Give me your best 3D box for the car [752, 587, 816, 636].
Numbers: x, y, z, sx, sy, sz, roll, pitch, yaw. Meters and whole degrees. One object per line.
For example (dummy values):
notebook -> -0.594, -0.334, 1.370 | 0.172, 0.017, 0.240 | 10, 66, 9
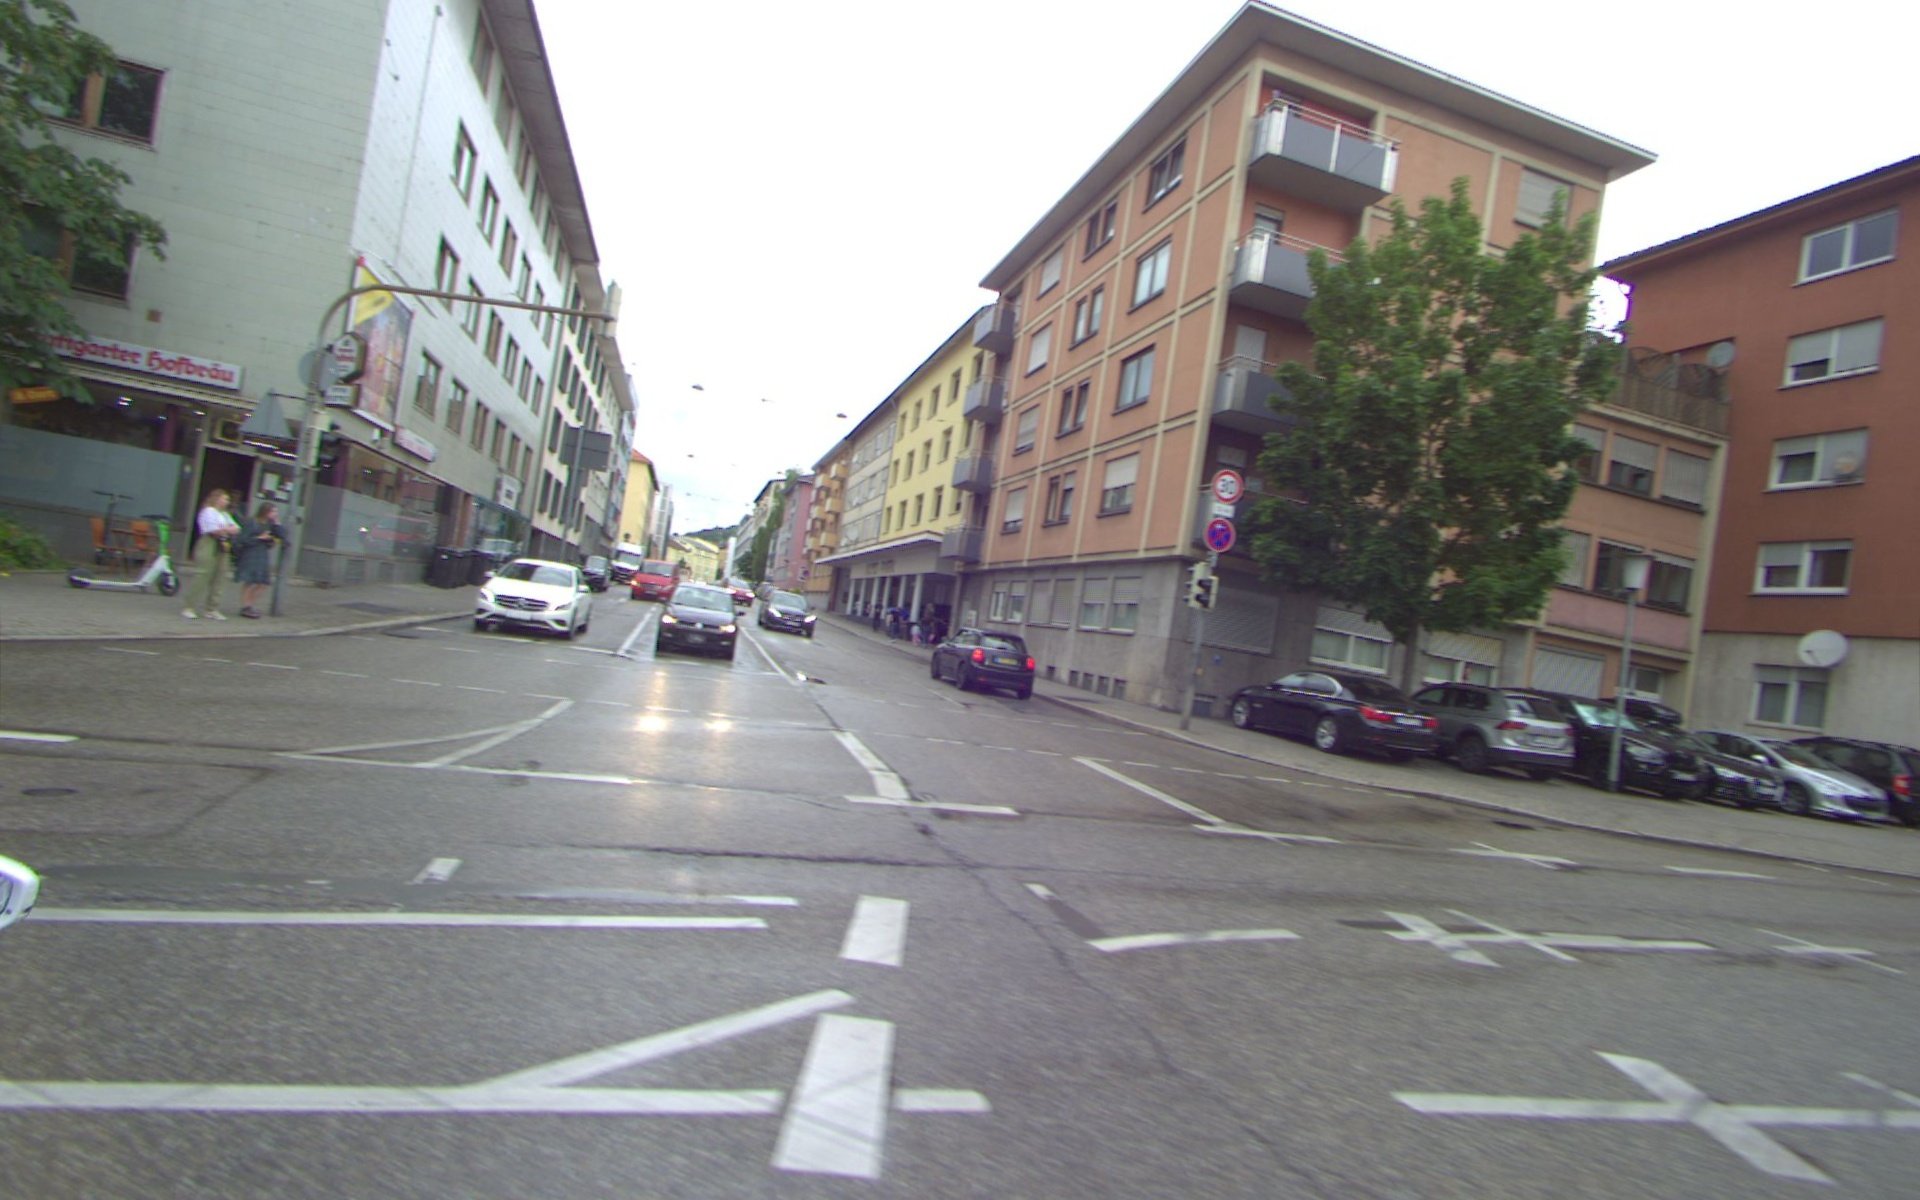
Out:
car -> -6.650, 0.442, 37.679 | 1.822, 1.506, 3.990 | 8, -3, -15

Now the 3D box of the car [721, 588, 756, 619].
car -> -14.078, 0.230, 63.813 | 1.822, 1.692, 3.991 | 8, -3, -15

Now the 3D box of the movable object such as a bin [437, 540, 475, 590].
movable object such as a bin -> -14.700, -1.012, 29.357 | 0.690, 1.329, 0.780 | 10, -3, -17

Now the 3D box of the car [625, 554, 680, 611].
car -> -14.387, -0.741, 47.325 | 2.040, 2.266, 4.609 | 8, -2, -14

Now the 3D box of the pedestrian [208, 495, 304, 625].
pedestrian -> -9.958, -0.566, 14.233 | 0.747, 1.666, 0.708 | 11, 1, 38

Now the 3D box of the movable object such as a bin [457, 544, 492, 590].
movable object such as a bin -> -15.422, -1.033, 31.967 | 0.690, 1.329, 0.780 | 10, -3, -17

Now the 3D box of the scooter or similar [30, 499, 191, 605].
scooter or similar -> -12.024, -0.661, 14.279 | 0.495, 1.202, 1.555 | 6, -5, 44

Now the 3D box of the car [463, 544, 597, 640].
car -> -8.591, -0.124, 20.445 | 1.822, 1.530, 3.989 | 8, -2, -15

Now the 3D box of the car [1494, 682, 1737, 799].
car -> 13.101, 2.747, 20.444 | 1.958, 1.739, 4.000 | 7, -2, -5

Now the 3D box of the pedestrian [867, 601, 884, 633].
pedestrian -> -4.449, 0.903, 53.086 | 0.514, 1.575, 0.567 | 10, 2, -16

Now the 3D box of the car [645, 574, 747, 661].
car -> -5.778, 0.364, 21.991 | 1.822, 1.506, 3.989 | 8, -2, -15

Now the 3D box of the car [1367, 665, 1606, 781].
car -> 10.358, 2.370, 20.167 | 1.962, 1.679, 3.992 | 8, -2, -13

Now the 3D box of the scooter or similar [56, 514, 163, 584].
scooter or similar -> -13.306, -0.798, 15.736 | 1.438, 0.851, 0.551 | 8, -3, 21

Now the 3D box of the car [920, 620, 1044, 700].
car -> 0.425, 1.367, 24.028 | 1.641, 1.437, 4.059 | 8, -1, -17

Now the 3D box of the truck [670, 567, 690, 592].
truck -> -51.333, -3.692, 184.481 | 2.774, 3.872, 8.130 | 10, -4, -14

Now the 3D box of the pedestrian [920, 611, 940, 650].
pedestrian -> -1.298, 1.303, 43.088 | 0.474, 1.585, 0.555 | 10, 2, -16

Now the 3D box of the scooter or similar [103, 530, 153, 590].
scooter or similar -> -13.134, -0.639, 15.894 | 0.457, 0.851, 1.308 | 11, -4, -38

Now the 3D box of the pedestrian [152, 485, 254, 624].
pedestrian -> -10.061, -0.604, 13.378 | 0.747, 1.666, 0.708 | 11, 1, 38

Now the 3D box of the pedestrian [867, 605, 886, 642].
pedestrian -> -3.734, 1.038, 45.123 | 0.514, 1.557, 0.567 | 10, 2, -16

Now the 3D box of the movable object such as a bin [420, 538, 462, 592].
movable object such as a bin -> -14.206, -0.946, 27.565 | 0.690, 1.329, 0.780 | 10, -3, -17

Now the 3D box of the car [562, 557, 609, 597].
car -> -18.465, -1.083, 49.743 | 1.704, 1.621, 3.989 | 8, -3, -16

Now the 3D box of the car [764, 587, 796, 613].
car -> -14.561, 0.054, 81.260 | 1.992, 1.578, 5.147 | 10, -4, -13

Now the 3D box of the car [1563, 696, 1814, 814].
car -> 15.281, 3.192, 21.390 | 1.773, 1.716, 3.992 | 10, -2, -13

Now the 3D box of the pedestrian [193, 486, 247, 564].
pedestrian -> -14.732, -1.476, 20.034 | 0.513, 1.414, 0.576 | 10, -3, -19

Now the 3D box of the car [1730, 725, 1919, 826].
car -> 20.224, 3.995, 22.915 | 1.965, 1.723, 4.003 | 10, -4, -4

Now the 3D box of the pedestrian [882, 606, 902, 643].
pedestrian -> -3.057, 1.083, 45.130 | 0.514, 1.537, 0.567 | 10, 2, -16

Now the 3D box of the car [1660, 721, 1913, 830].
car -> 17.672, 3.700, 21.786 | 1.648, 1.598, 3.998 | 10, -4, -10

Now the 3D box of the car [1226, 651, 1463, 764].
car -> 7.375, 2.015, 19.928 | 1.821, 1.572, 4.785 | 8, -2, -14

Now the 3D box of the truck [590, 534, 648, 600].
truck -> -24.723, -2.269, 73.392 | 2.774, 3.872, 8.130 | 10, -4, -14
